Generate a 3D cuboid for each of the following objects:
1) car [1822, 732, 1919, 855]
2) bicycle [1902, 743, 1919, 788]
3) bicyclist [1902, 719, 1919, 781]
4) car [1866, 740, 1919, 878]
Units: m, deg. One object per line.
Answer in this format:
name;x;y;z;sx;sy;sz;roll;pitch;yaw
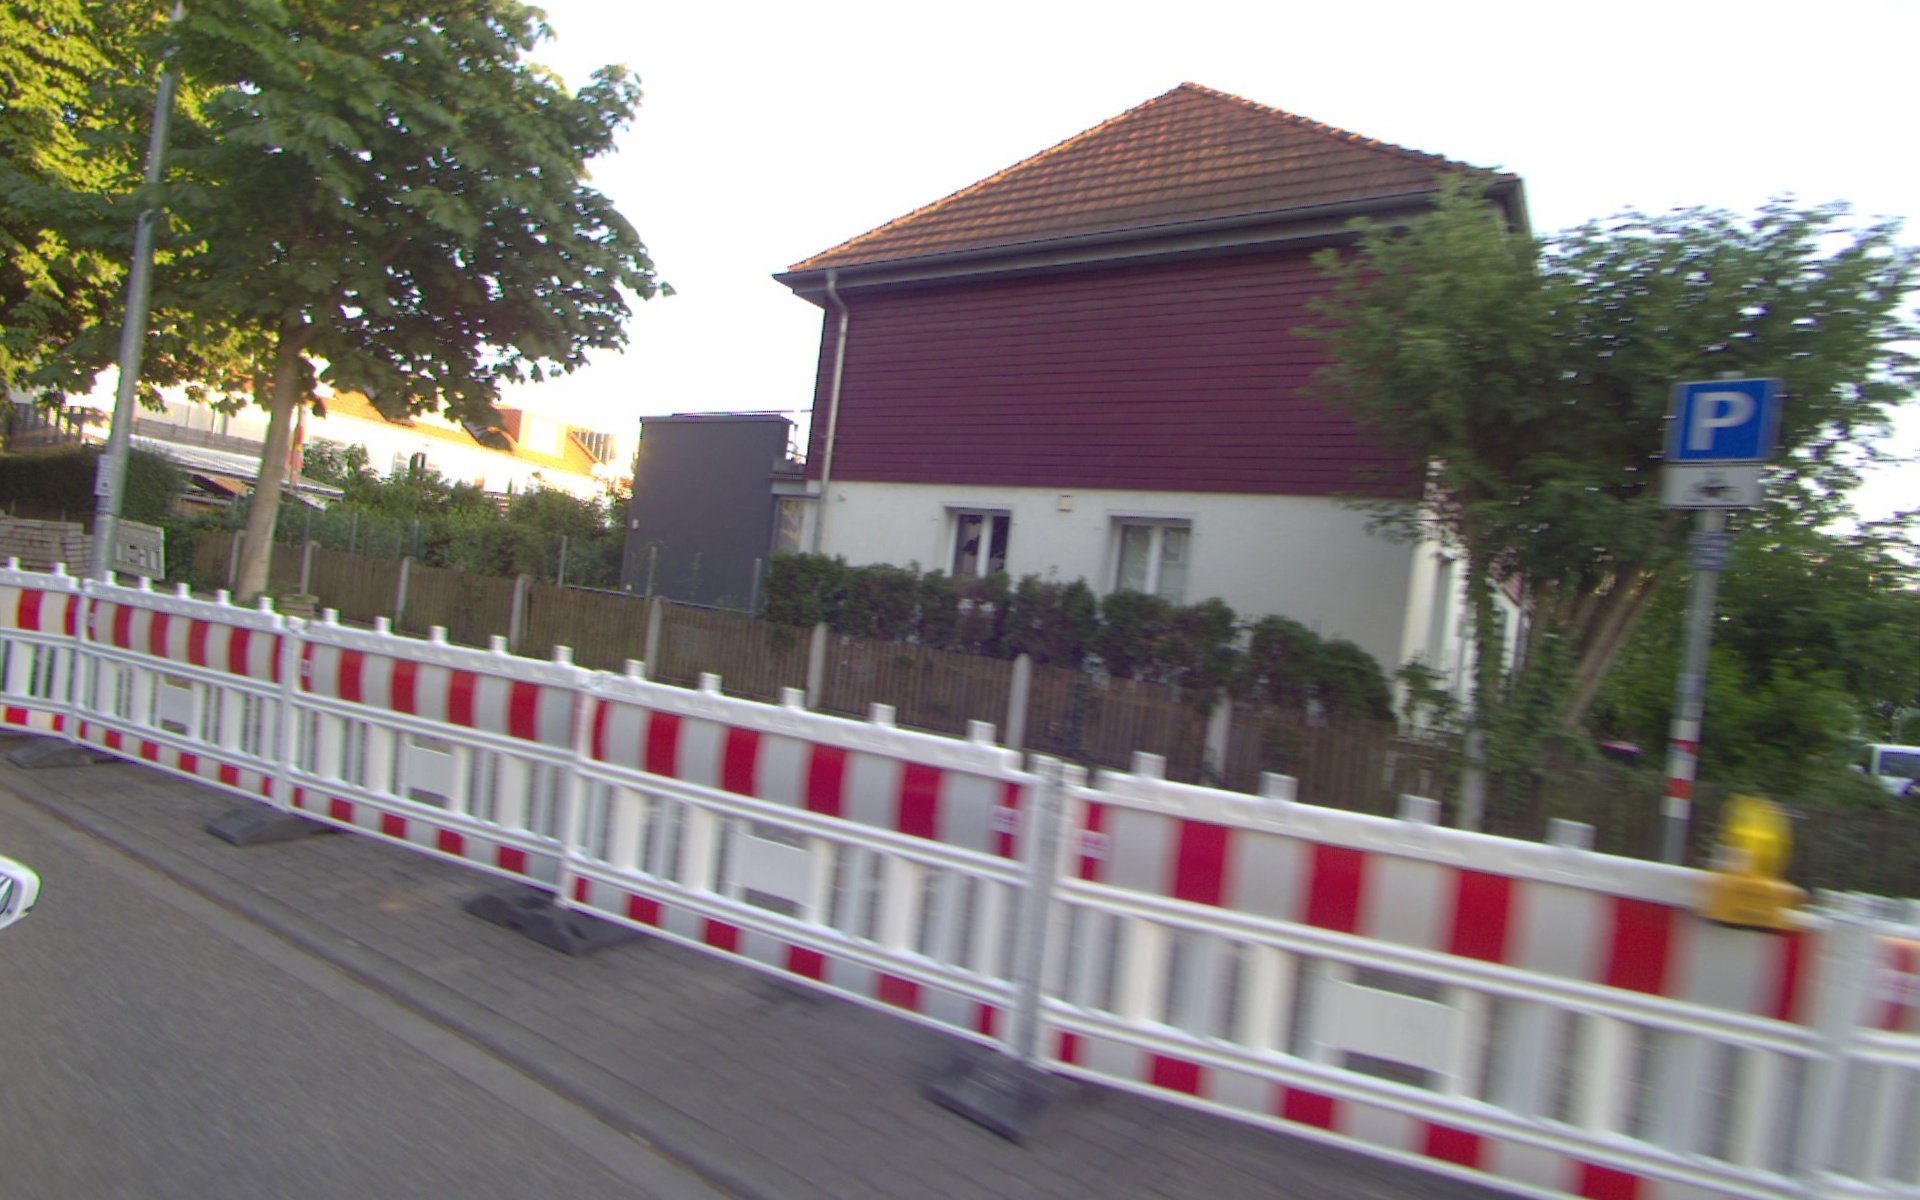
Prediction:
car;16.286;3.287;16.941;1.968;1.788;3.994;7;-2;33
bicycle;27.518;4.747;28.705;0.444;1.238;1.880;7;-2;31
bicyclist;27.534;4.307;28.630;0.732;1.718;0.979;7;-1;32
car;13.361;2.814;12.783;1.968;1.682;3.994;7;-2;33
